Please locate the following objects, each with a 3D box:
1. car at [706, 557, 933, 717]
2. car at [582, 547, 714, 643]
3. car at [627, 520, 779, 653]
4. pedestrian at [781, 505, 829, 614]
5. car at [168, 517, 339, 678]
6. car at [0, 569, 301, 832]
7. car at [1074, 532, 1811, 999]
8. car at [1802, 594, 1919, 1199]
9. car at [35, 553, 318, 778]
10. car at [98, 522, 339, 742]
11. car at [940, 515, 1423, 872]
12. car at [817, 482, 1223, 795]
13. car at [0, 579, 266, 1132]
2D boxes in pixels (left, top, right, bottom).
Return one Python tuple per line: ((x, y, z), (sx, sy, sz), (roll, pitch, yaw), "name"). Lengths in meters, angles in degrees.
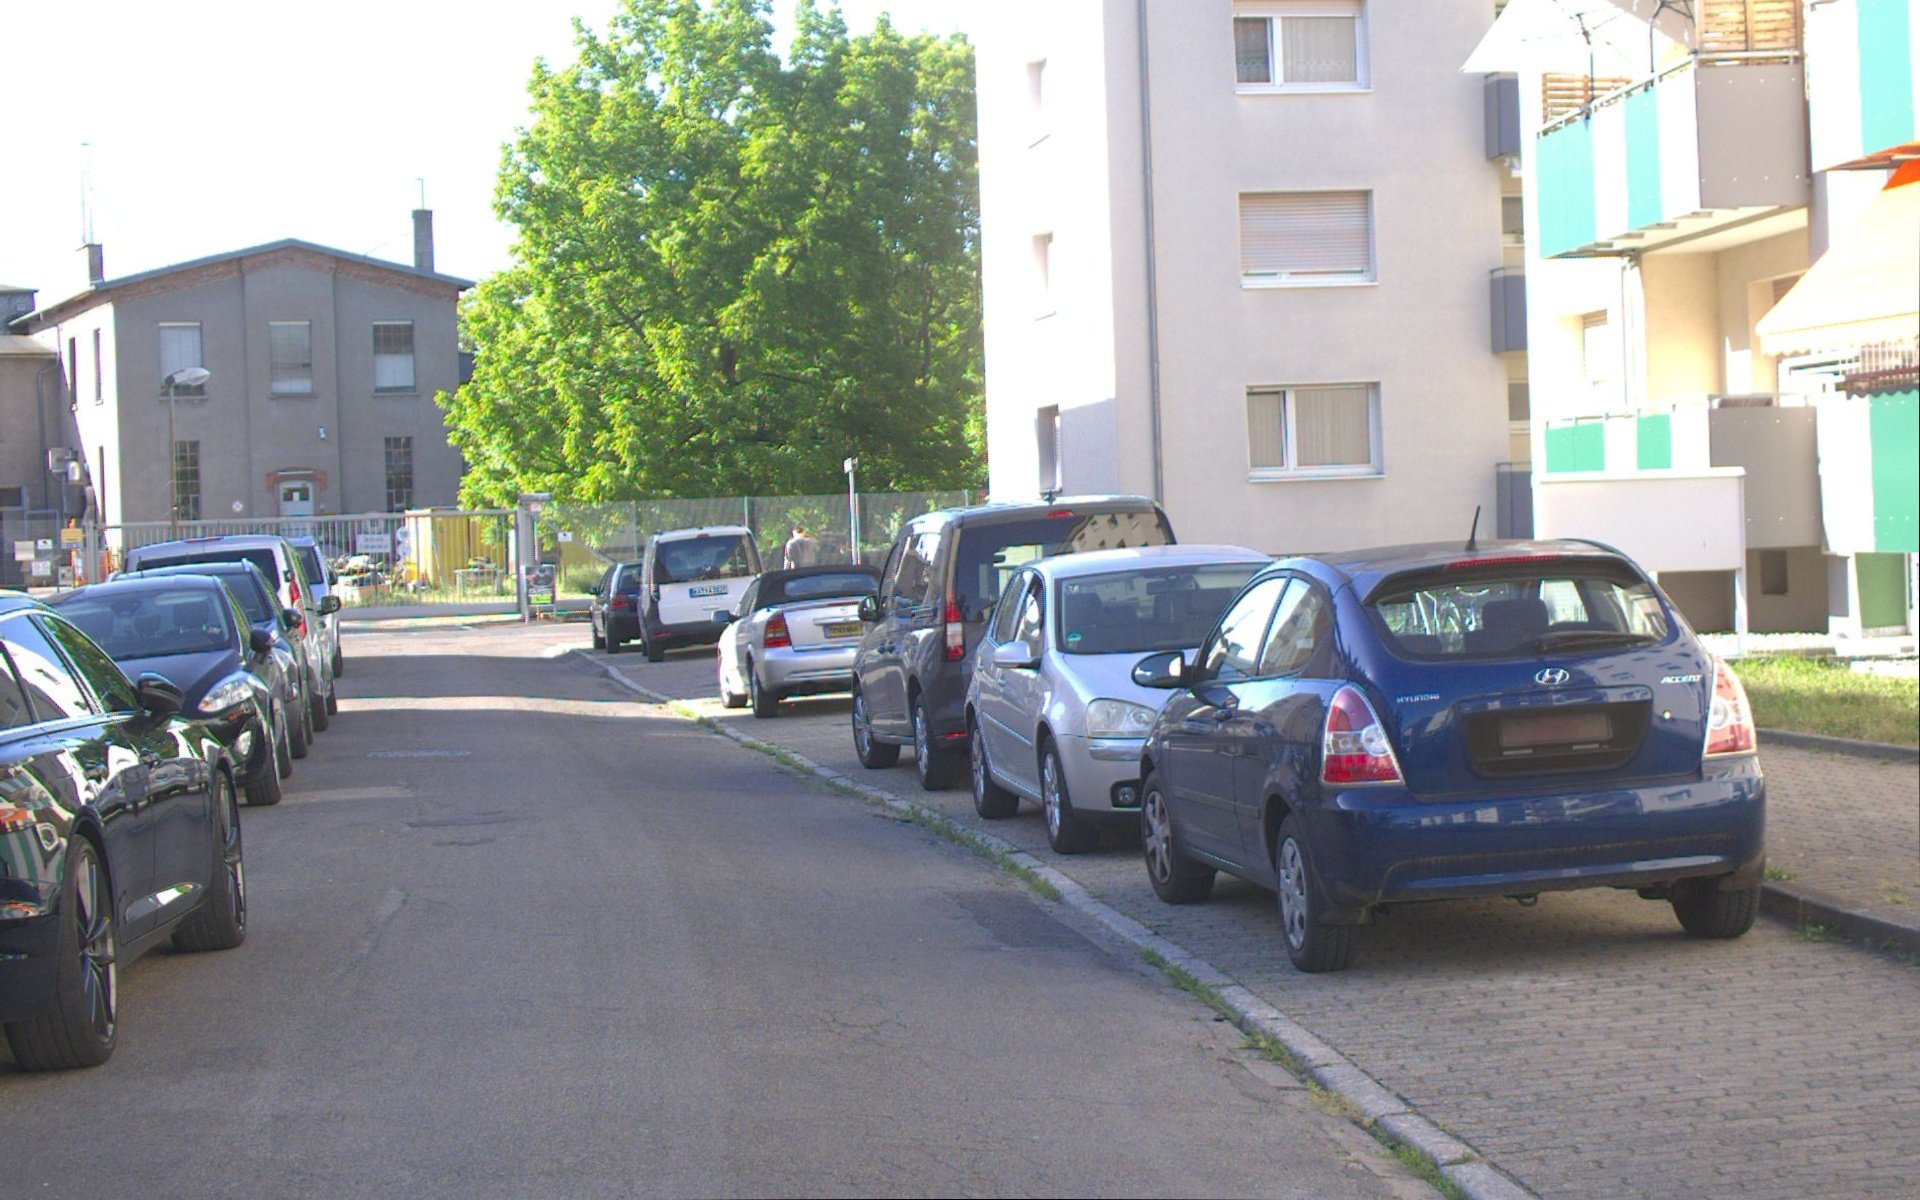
((-1.441, 0.340, 33.853), (1.717, 1.359, 4.056), (-4, 1, -8), "car")
((-5.038, -0.107, 55.144), (1.765, 1.357, 4.095), (-4, 1, -9), "car")
((-3.763, -0.210, 49.811), (1.765, 1.733, 4.095), (-4, 1, -9), "car")
((-2.644, -0.689, 58.678), (0.654, 1.809, 0.614), (-4, 1, 1), "pedestrian")
((-9.763, -0.058, 47.782), (1.993, 2.006, 4.455), (-4, 1, -9), "car")
((-5.228, 0.575, 22.301), (1.658, 1.438, 3.872), (-4, 1, -9), "car")
((1.695, 0.517, 13.628), (1.737, 1.427, 4.357), (-4, 1, -7), "car")
((2.569, 0.665, 4.270), (1.685, 1.358, 4.240), (-5, 2, -3), "car")
((-6.062, 0.452, 26.986), (1.832, 1.510, 4.001), (-4, 1, -9), "car")
((-6.897, 0.272, 32.344), (1.896, 1.849, 4.196), (-3, 1, -9), "car")
((1.043, 0.400, 18.222), (1.681, 1.582, 4.013), (-3, 1, -8), "car")
((0.292, 0.224, 23.462), (1.896, 1.849, 4.345), (-3, 1, -10), "car")
((-3.544, 0.737, 11.414), (1.743, 1.426, 4.599), (-5, 1, -4), "car")
